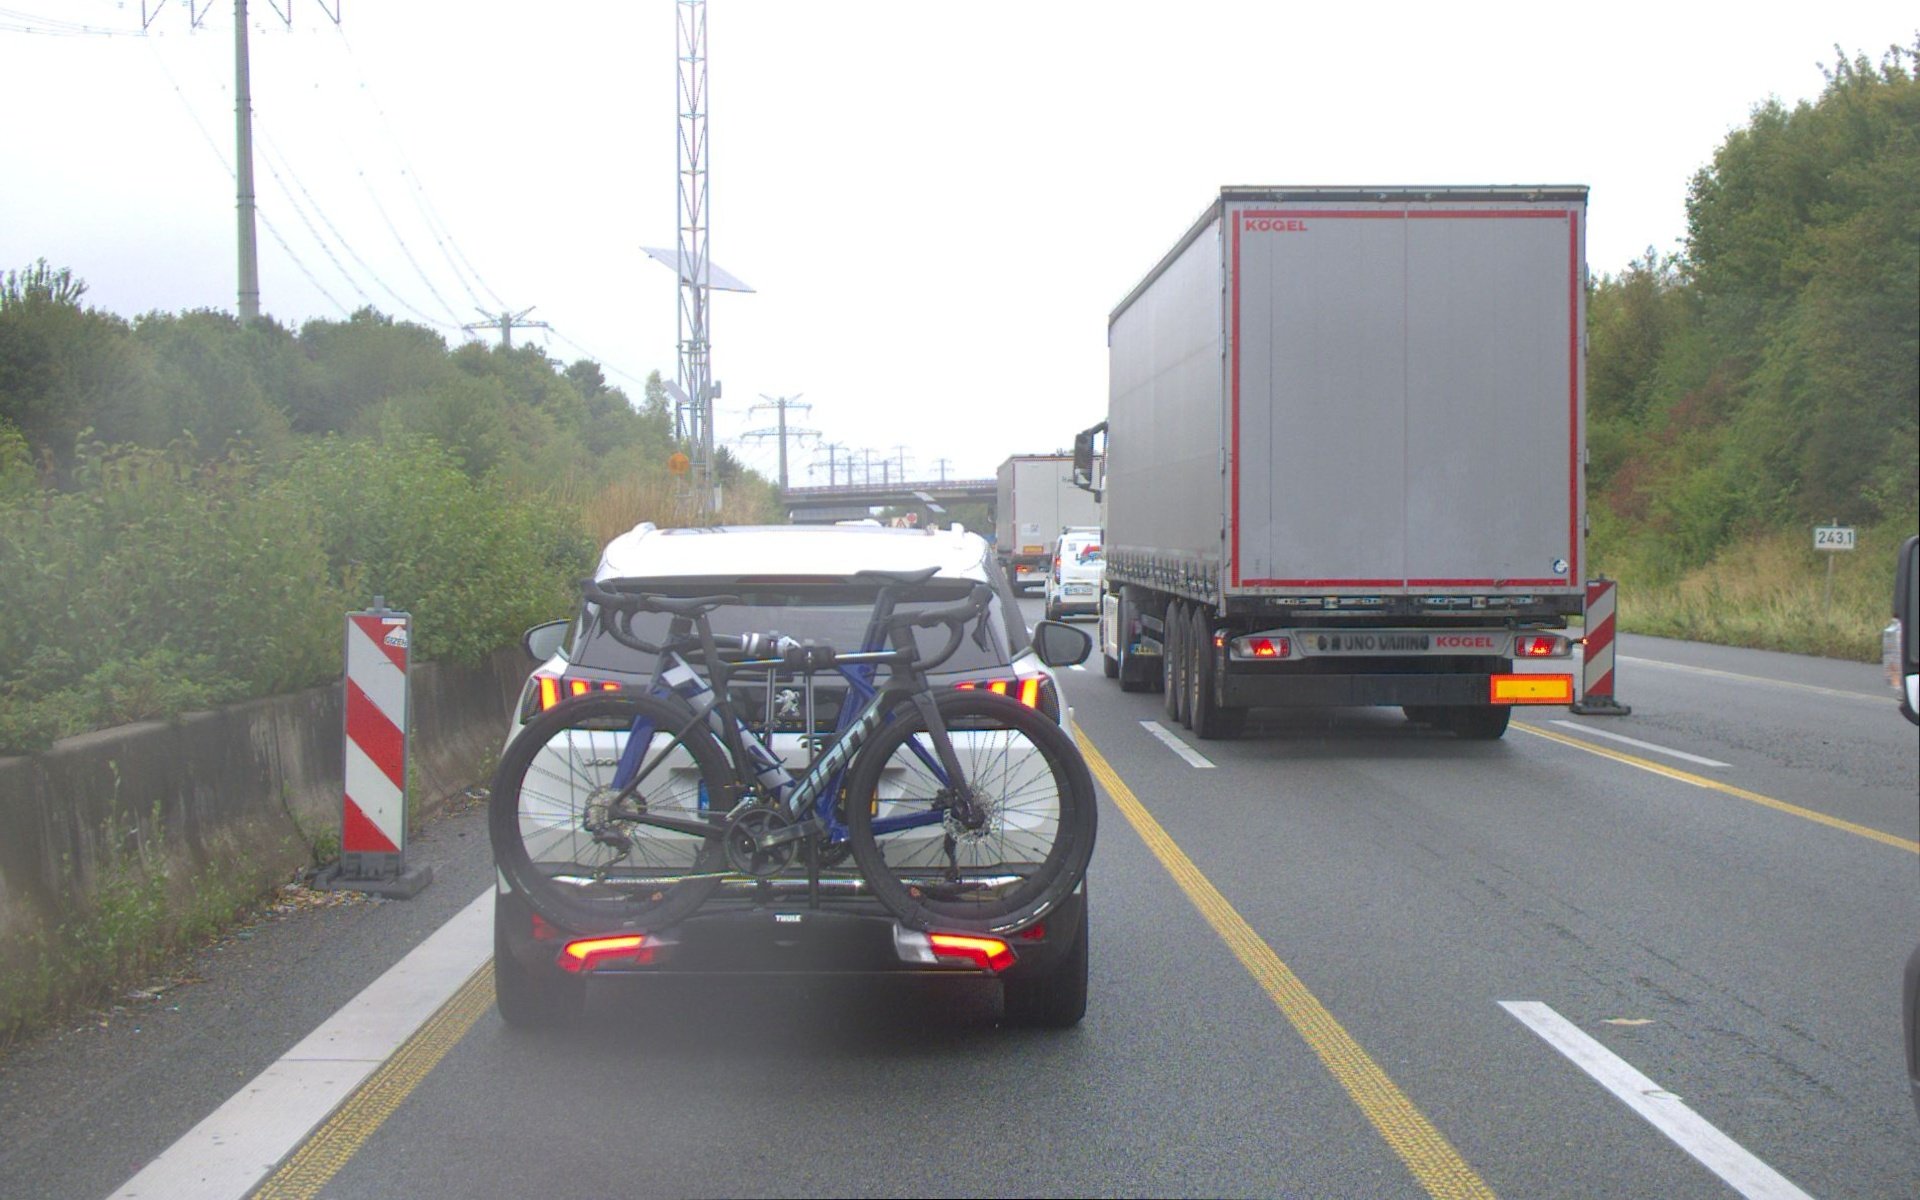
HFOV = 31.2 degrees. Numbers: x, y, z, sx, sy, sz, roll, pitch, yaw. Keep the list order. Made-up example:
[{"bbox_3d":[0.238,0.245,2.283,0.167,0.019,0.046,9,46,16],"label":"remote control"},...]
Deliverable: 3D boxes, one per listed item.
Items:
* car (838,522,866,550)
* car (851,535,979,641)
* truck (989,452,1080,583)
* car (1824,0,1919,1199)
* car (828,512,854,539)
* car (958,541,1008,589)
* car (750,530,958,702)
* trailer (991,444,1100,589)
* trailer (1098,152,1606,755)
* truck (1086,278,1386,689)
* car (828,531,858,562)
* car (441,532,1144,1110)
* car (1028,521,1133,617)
[{"bbox_3d":[-7.804,-4.655,248.934,1.931,1.904,4.001,0,2,-1],"label":"car"},{"bbox_3d":[-0.688,-0.207,51.846,1.850,1.525,4.000,0,1,-1],"label":"car"},{"bbox_3d":[2.354,-2.617,110.039,2.660,4.062,6.539,0,1,-1],"label":"truck"},{"bbox_3d":[2.845,0.050,4.169,1.993,2.773,5.757,0,1,-2],"label":"car"},{"bbox_3d":[-9.043,-5.675,261.597,1.931,1.966,4.001,0,2,-1],"label":"car"},{"bbox_3d":[0.996,-1.549,151.272,2.110,1.966,4.001,0,2,-1],"label":"car"},{"bbox_3d":[-0.978,0.107,32.683,1.850,1.525,4.000,0,1,-1],"label":"car"},{"bbox_3d":[2.455,-2.467,103.245,2.692,4.062,13.634,0,1,-1],"label":"trailer"},{"bbox_3d":[2.968,-1.125,30.493,2.706,4.132,13.733,0,1,-1],"label":"trailer"},{"bbox_3d":[2.879,-1.217,37.401,2.706,4.124,5.691,0,1,-1],"label":"truck"},{"bbox_3d":[-7.842,-3.620,230.946,1.931,1.966,4.001,0,2,-1],"label":"car"},{"bbox_3d":[-0.482,0.541,11.447,1.850,1.525,4.769,0,1,-1],"label":"car"},{"bbox_3d":[2.358,-0.640,68.291,1.829,1.833,4.656,0,1,-1],"label":"car"}]
